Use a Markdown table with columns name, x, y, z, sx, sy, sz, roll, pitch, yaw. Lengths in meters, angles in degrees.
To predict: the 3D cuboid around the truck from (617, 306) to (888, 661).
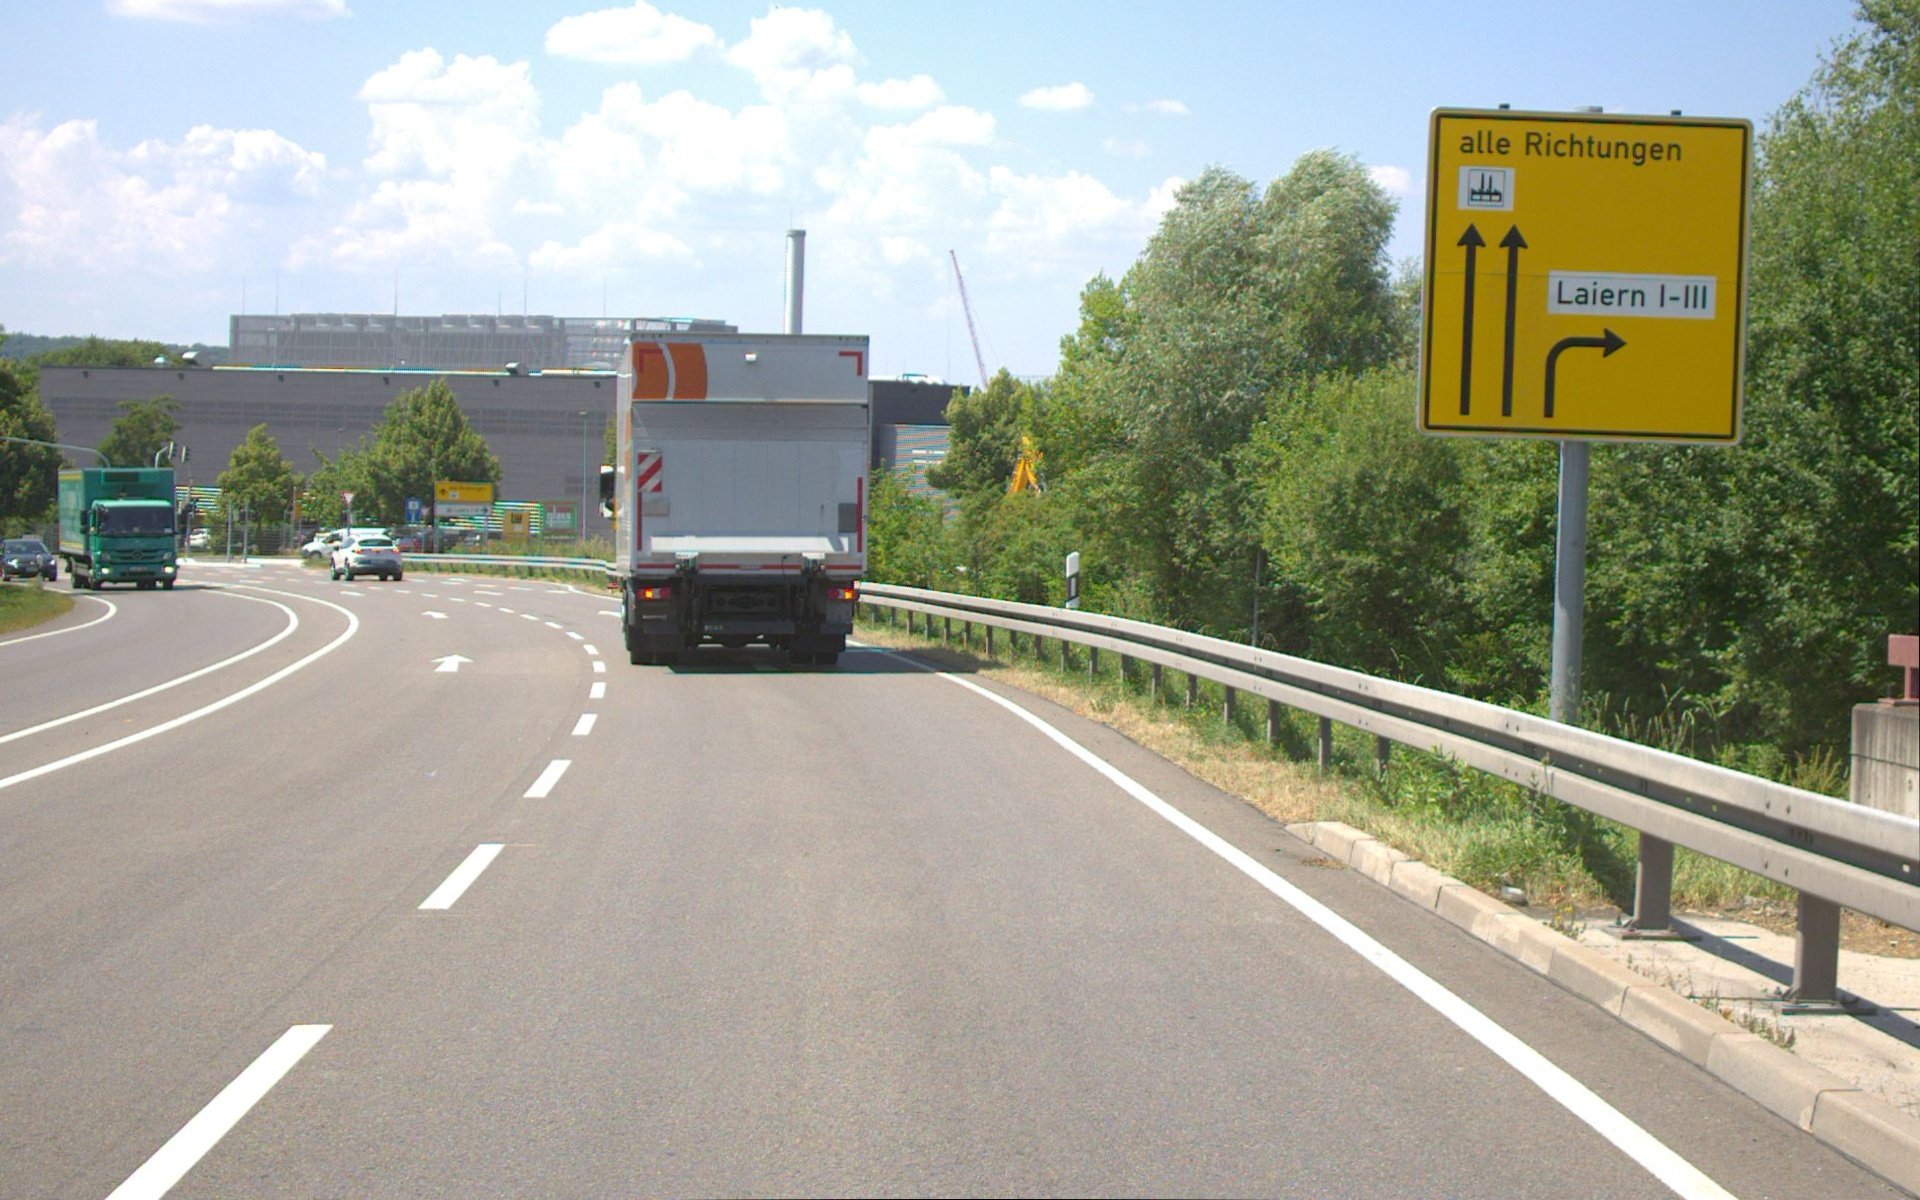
| name | x | y | z | sx | sy | sz | roll | pitch | yaw |
| --- | --- | --- | --- | --- | --- | --- | --- | --- | --- |
| truck | -2.565 | -1.363 | 40.838 | 2.803 | 3.698 | 9.110 | 1 | 2 | -5 |

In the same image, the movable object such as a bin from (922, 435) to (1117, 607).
| name | x | y | z | sx | sy | sz | roll | pitch | yaw |
| --- | --- | --- | --- | --- | --- | --- | --- | --- | --- |
| movable object such as a bin | 1.888 | -2.734 | 114.857 | 3.423 | 5.242 | 9.233 | 2 | 3 | -18 |

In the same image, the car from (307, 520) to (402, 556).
| name | x | y | z | sx | sy | sz | roll | pitch | yaw |
| --- | --- | --- | --- | --- | --- | --- | --- | --- | --- |
| car | -32.761 | -3.367 | 186.162 | 4.745 | 1.925 | 2.154 | 0 | 1 | 0 |

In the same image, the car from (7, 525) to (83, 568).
| name | x | y | z | sx | sy | sz | roll | pitch | yaw |
| --- | --- | --- | --- | --- | --- | --- | --- | --- | --- |
| car | -31.263 | -1.852 | 117.550 | 1.877 | 1.437 | 4.331 | 0 | 1 | -6 |

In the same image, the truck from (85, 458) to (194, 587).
| name | x | y | z | sx | sy | sz | roll | pitch | yaw |
| --- | --- | --- | --- | --- | --- | --- | --- | --- | --- |
| truck | -23.904 | -2.242 | 99.885 | 2.868 | 3.562 | 9.434 | 0 | 1 | -15 |

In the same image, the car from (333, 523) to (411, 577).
| name | x | y | z | sx | sy | sz | roll | pitch | yaw |
| --- | --- | --- | --- | --- | --- | --- | --- | --- | --- |
| car | -19.291 | -1.649 | 112.680 | 1.943 | 1.658 | 4.001 | 3 | 0 | -17 |
